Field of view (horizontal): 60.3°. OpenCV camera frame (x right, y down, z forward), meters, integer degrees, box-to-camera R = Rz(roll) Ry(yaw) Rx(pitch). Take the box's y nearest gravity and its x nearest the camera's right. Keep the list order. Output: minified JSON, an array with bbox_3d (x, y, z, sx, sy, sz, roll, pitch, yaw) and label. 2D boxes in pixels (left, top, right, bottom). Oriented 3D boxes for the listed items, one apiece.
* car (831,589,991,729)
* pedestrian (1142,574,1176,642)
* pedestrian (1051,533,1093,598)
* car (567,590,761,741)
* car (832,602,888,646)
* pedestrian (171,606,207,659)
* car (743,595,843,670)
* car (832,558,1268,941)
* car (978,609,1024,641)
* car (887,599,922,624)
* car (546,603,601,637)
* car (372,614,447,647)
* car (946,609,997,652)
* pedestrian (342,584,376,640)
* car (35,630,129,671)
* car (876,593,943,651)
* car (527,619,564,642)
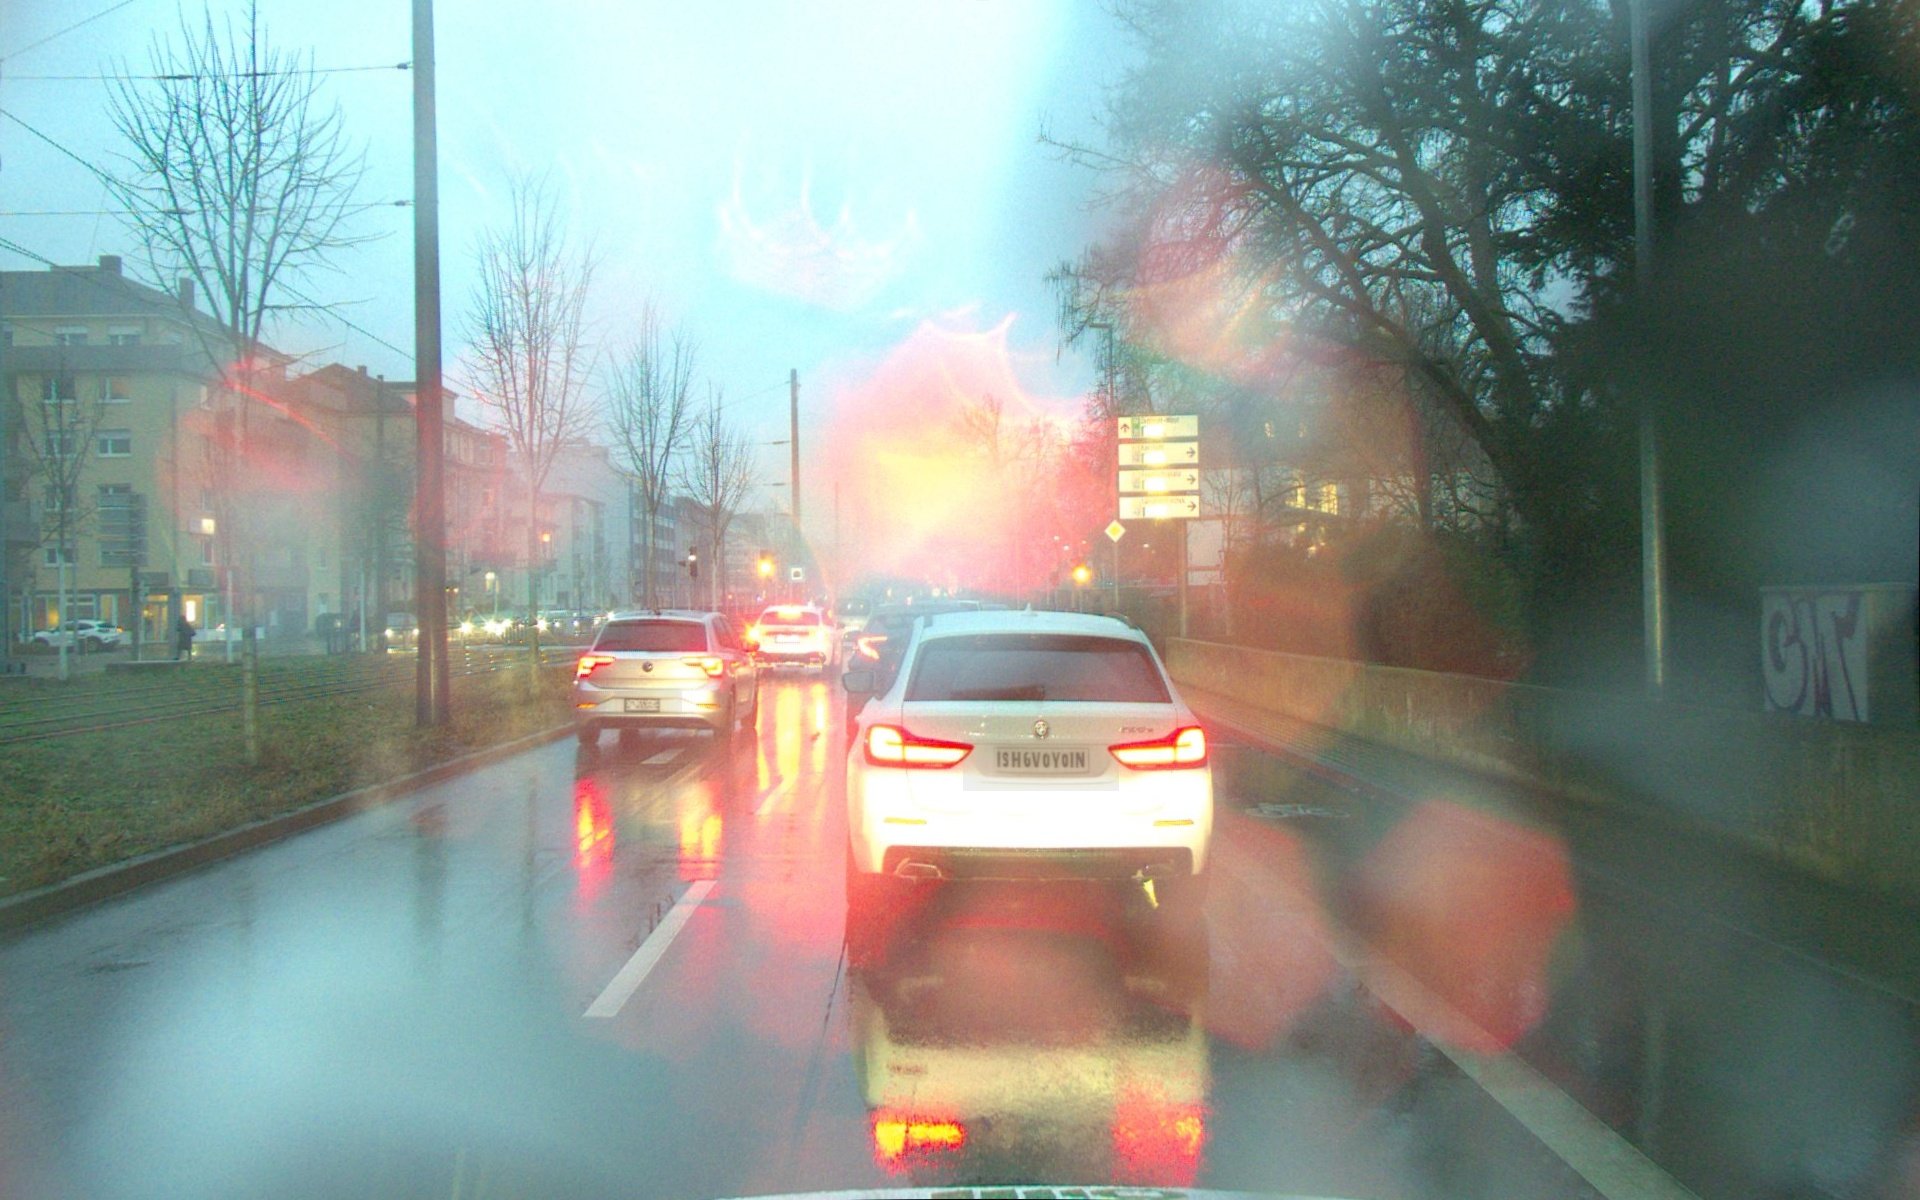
[{"bbox_3d":[-0.575,0.666,20.388,1.763,1.537,3.894,-1,0,-1],"label":"car"},{"bbox_3d":[6.176,0.248,51.385,0.938,2.049,1.008,-1,0,4],"label":"pedestrian"},{"bbox_3d":[3.564,-1.101,52.768,0.946,2.049,1.000,-1,0,-23],"label":"pedestrian"},{"bbox_3d":[-3.302,0.676,19.135,1.659,1.560,3.998,0,0,-2],"label":"car"},{"bbox_3d":[-3.429,0.799,57.468,1.702,1.444,4.393,-1,0,-1],"label":"car"},{"bbox_3d":[-30.391,1.255,65.194,1.253,2.049,1.000,-1,0,-25],"label":"pedestrian"},{"bbox_3d":[-3.574,0.667,36.149,1.762,1.492,4.584,-1,0,-1],"label":"car"},{"bbox_3d":[0.349,0.630,9.485,1.825,1.583,4.937,-1,0,-1],"label":"car"},{"bbox_3d":[1.935,1.202,79.295,1.704,1.444,3.698,-1,0,-6],"label":"car"},{"bbox_3d":[-3.070,0.633,92.161,1.891,1.311,3.999,1,-1,-1],"label":"car"},{"bbox_3d":[-19.594,1.003,84.007,1.953,1.630,3.998,1,-1,-2],"label":"car"},{"bbox_3d":[-23.534,1.277,70.822,1.821,1.355,4.314,1,-1,-1],"label":"car"},{"bbox_3d":[0.380,1.077,59.297,1.702,1.444,3.702,-1,0,-1],"label":"car"},{"bbox_3d":[-22.430,0.434,61.721,0.940,2.049,1.006,-1,0,-7],"label":"pedestrian"},{"bbox_3d":[-43.673,2.510,82.300,3.679,1.976,1.838,1,-1,-9],"label":"car"},{"bbox_3d":[-1.321,0.566,44.605,1.702,1.444,3.702,-1,0,-1],"label":"car"},{"bbox_3d":[-24.648,1.785,98.464,1.659,1.300,4.141,-1,0,-7],"label":"car"}]
